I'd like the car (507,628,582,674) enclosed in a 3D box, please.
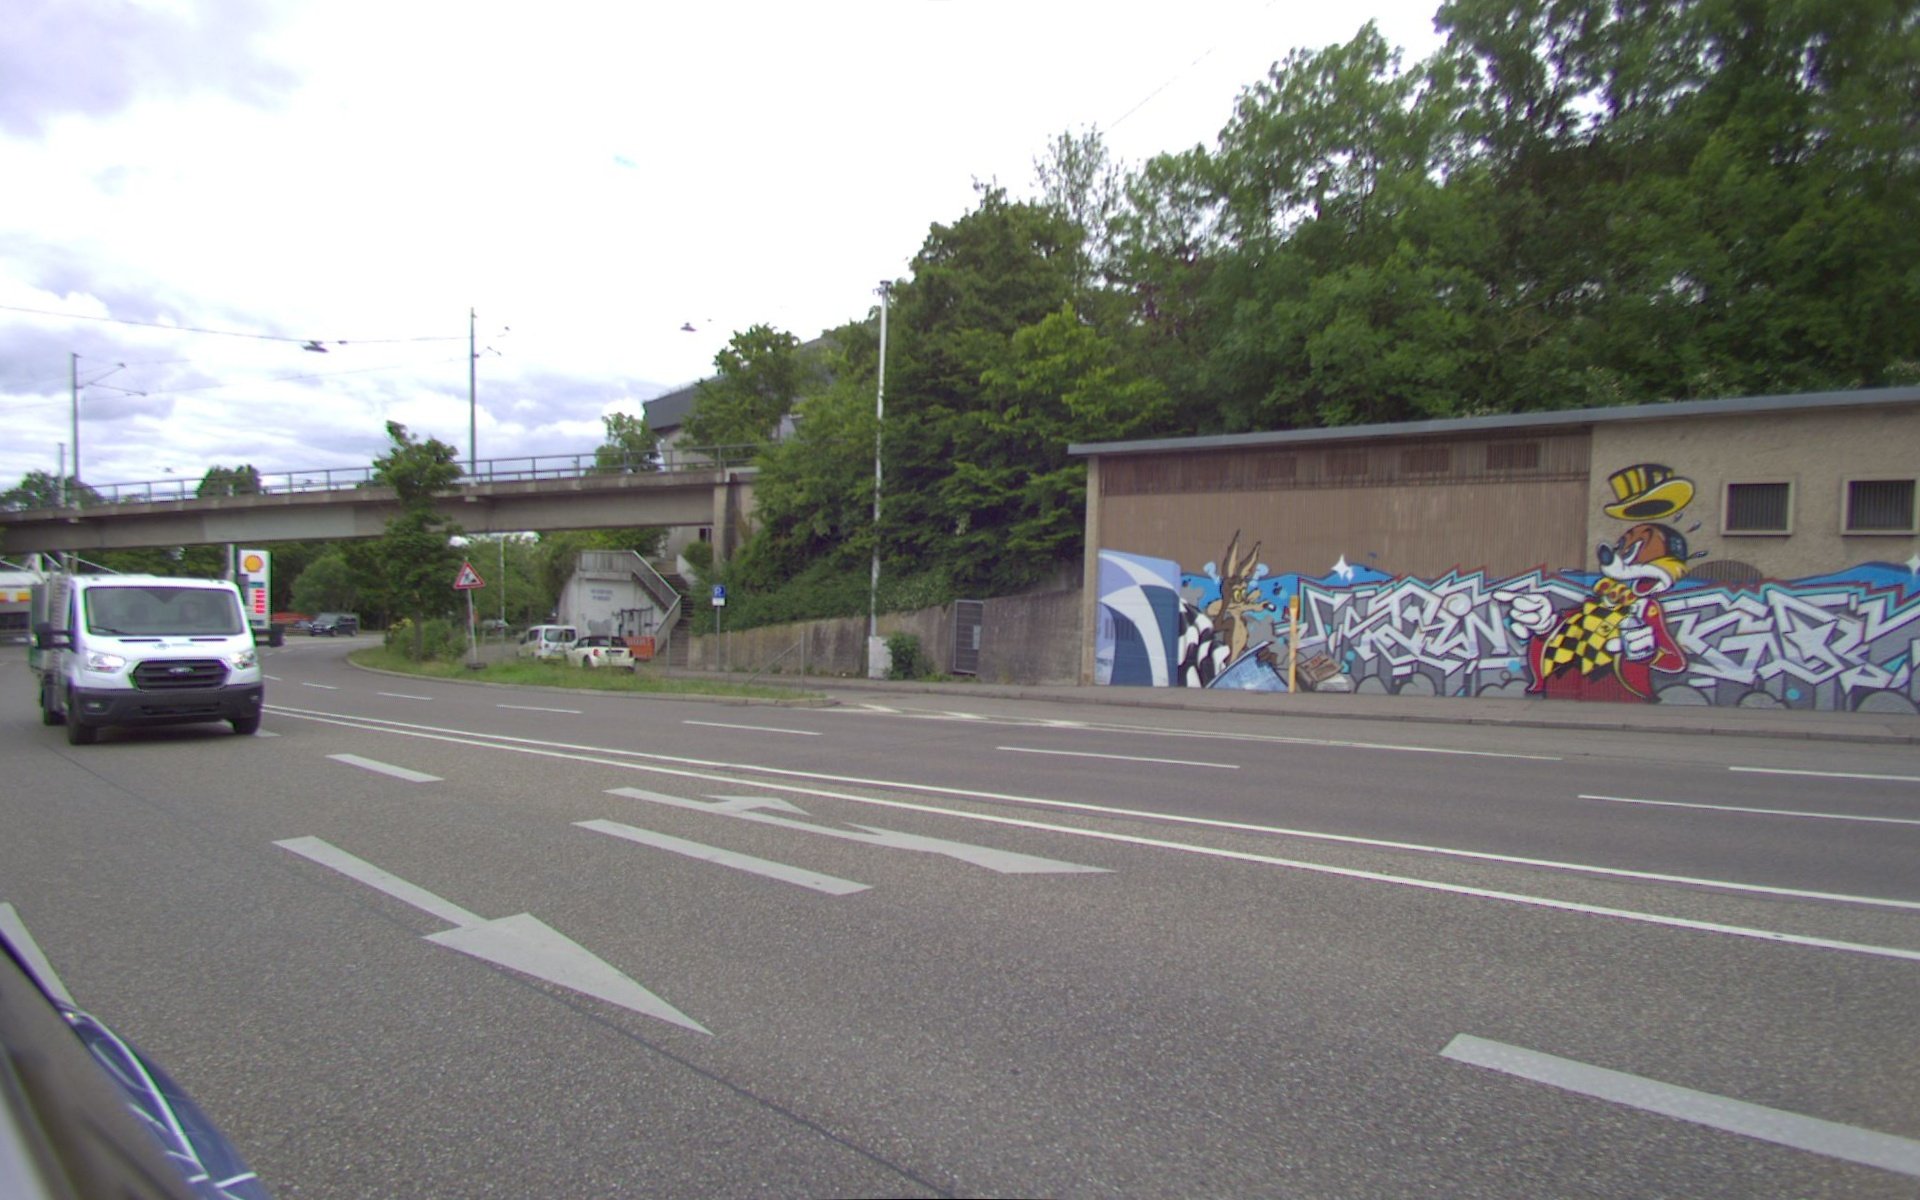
[{"bbox_3d":[-17.455,2.099,42.405,1.743,1.799,4.475,5,-4,-37],"label":"car"}]

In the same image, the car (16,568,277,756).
[{"bbox_3d":[-11.952,0.763,14.649,6.267,2.190,1.972,-1,-1,42],"label":"car"}]

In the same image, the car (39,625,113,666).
[{"bbox_3d":[-33.379,1.685,38.180,4.001,1.422,1.710,-1,-3,44],"label":"car"}]

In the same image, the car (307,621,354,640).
[{"bbox_3d":[-52.956,2.571,85.183,1.704,1.489,4.004,0,-2,-5],"label":"car"}]

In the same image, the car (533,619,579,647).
[{"bbox_3d":[-35.857,2.927,89.992,2.239,2.290,6.338,2,-2,-8],"label":"car"}]

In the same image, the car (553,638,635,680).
[{"bbox_3d":[-13.452,2.132,37.102,1.743,1.430,3.812,3,-3,-37],"label":"car"}]
